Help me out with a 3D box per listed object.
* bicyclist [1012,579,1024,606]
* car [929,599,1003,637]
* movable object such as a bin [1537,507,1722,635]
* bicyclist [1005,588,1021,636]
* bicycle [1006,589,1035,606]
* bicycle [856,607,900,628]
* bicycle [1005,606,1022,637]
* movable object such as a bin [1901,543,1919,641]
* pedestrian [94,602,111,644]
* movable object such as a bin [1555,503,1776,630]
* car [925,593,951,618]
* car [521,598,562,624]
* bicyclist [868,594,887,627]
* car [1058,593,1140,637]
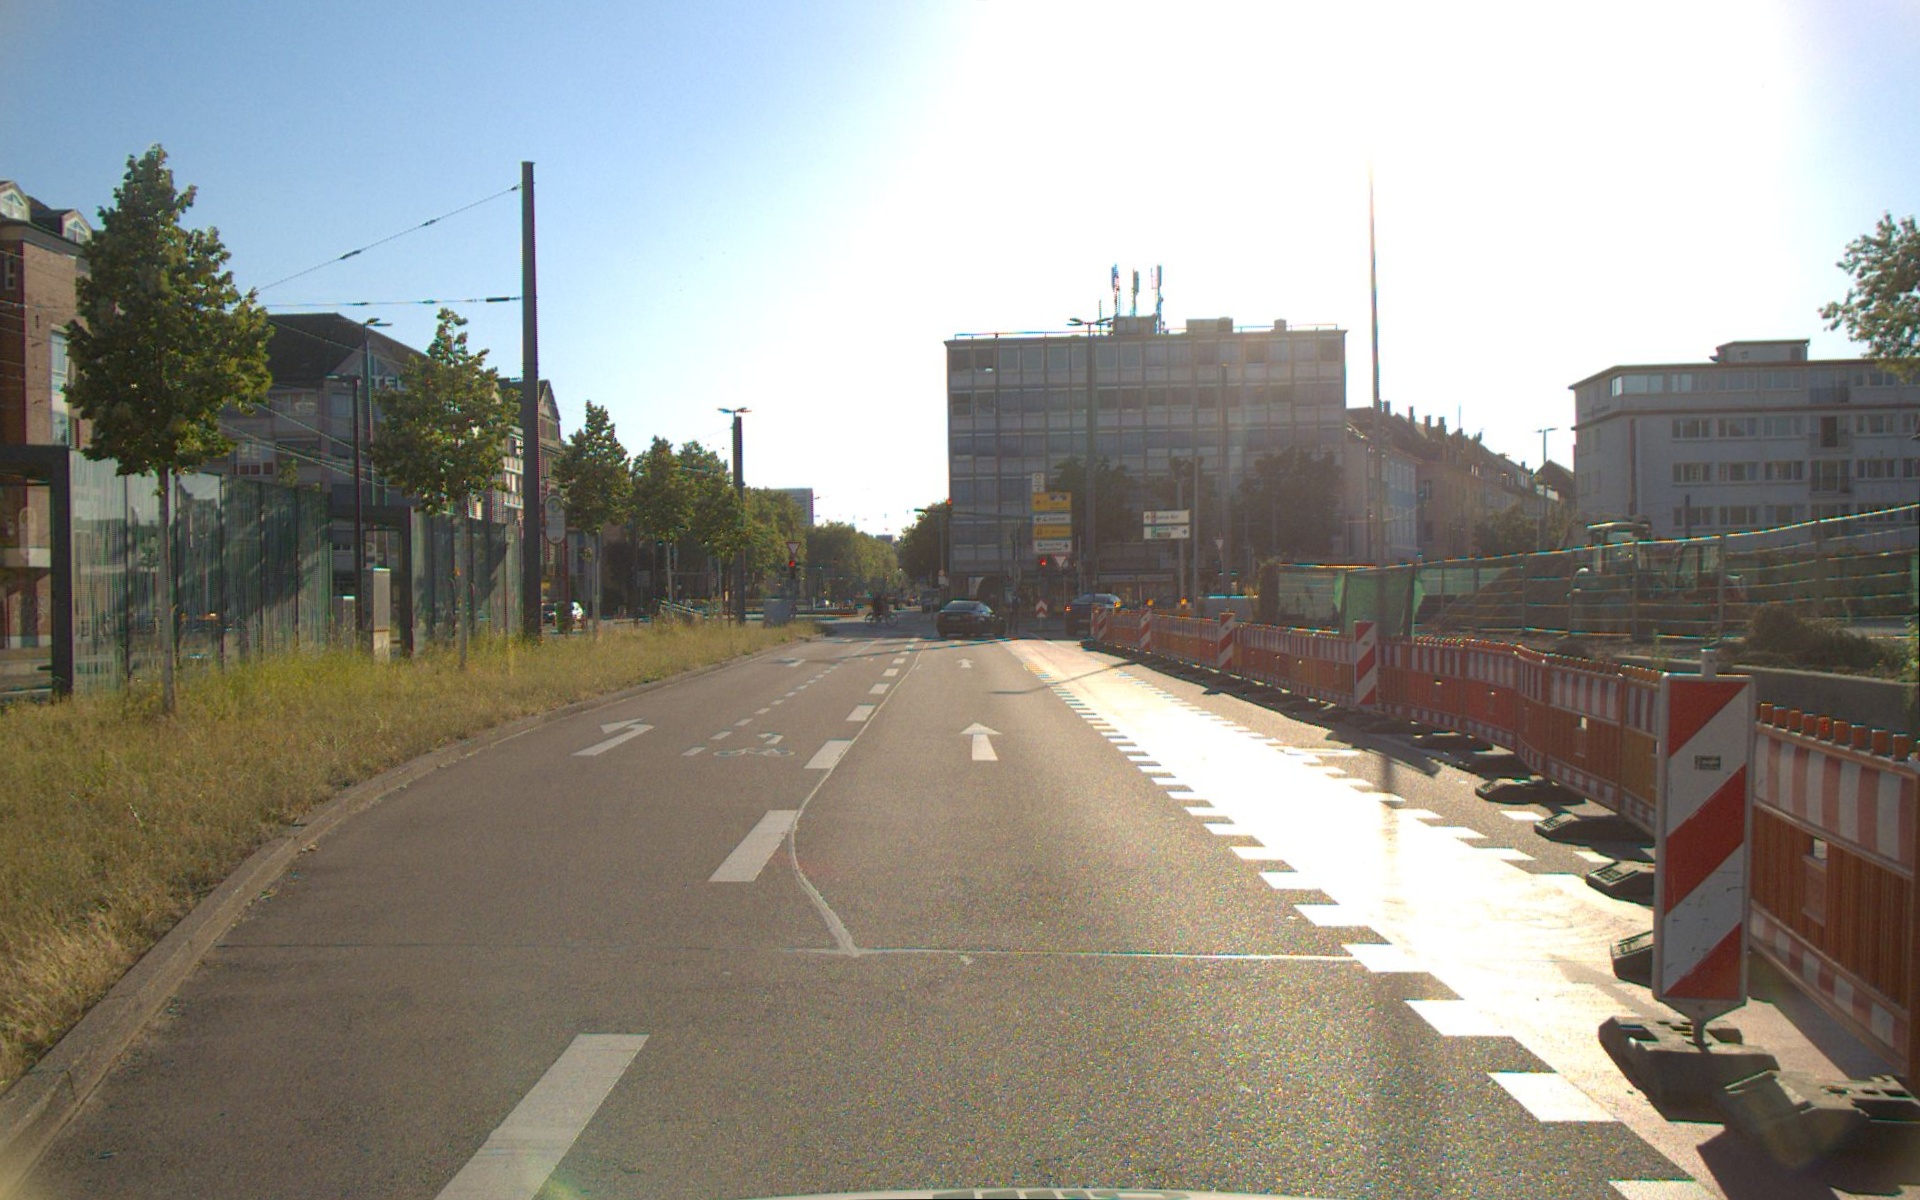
[{"bbox_3d":[3.799,-0.481,107.562,0.651,1.742,0.537,-1,0,-11],"label":"bicyclist"},{"bbox_3d":[0.274,0.697,65.520,1.707,1.451,4.001,-1,0,20],"label":"car"},{"bbox_3d":[15.514,-0.646,38.666,2.229,2.751,4.941,-1,0,-1],"label":"movable object such as a bin"},{"bbox_3d":[2.293,0.506,71.426,0.630,2.048,1.067,1,1,0],"label":"bicyclist"},{"bbox_3d":[3.937,-0.153,107.593,1.744,1.091,0.534,-1,0,-11],"label":"bicycle"},{"bbox_3d":[-4.169,0.883,84.090,2.180,1.044,0.682,-1,0,2],"label":"bicycle"},{"bbox_3d":[2.305,0.921,71.385,0.631,1.244,2.048,1,2,0],"label":"bicycle"},{"bbox_3d":[26.302,-0.313,40.737,4.932,2.364,2.222,-1,-5,-5],"label":"movable object such as a bin"},{"bbox_3d":[-38.394,1.016,74.042,0.475,1.854,0.548,0,0,-4],"label":"pedestrian"},{"bbox_3d":[21.276,-0.946,49.998,5.940,3.620,2.860,-1,0,25],"label":"movable object such as a bin"},{"bbox_3d":[-2.248,0.543,168.381,2.436,2.434,5.932,-3,0,-1],"label":"car"},{"bbox_3d":[-31.735,0.803,125.532,1.952,1.892,4.001,-1,0,1],"label":"car"},{"bbox_3d":[-4.192,0.541,84.090,0.939,1.690,0.691,0,0,2],"label":"bicyclist"},{"bbox_3d":[5.845,0.601,69.139,1.956,1.723,3.994,1,1,29],"label":"car"}]
